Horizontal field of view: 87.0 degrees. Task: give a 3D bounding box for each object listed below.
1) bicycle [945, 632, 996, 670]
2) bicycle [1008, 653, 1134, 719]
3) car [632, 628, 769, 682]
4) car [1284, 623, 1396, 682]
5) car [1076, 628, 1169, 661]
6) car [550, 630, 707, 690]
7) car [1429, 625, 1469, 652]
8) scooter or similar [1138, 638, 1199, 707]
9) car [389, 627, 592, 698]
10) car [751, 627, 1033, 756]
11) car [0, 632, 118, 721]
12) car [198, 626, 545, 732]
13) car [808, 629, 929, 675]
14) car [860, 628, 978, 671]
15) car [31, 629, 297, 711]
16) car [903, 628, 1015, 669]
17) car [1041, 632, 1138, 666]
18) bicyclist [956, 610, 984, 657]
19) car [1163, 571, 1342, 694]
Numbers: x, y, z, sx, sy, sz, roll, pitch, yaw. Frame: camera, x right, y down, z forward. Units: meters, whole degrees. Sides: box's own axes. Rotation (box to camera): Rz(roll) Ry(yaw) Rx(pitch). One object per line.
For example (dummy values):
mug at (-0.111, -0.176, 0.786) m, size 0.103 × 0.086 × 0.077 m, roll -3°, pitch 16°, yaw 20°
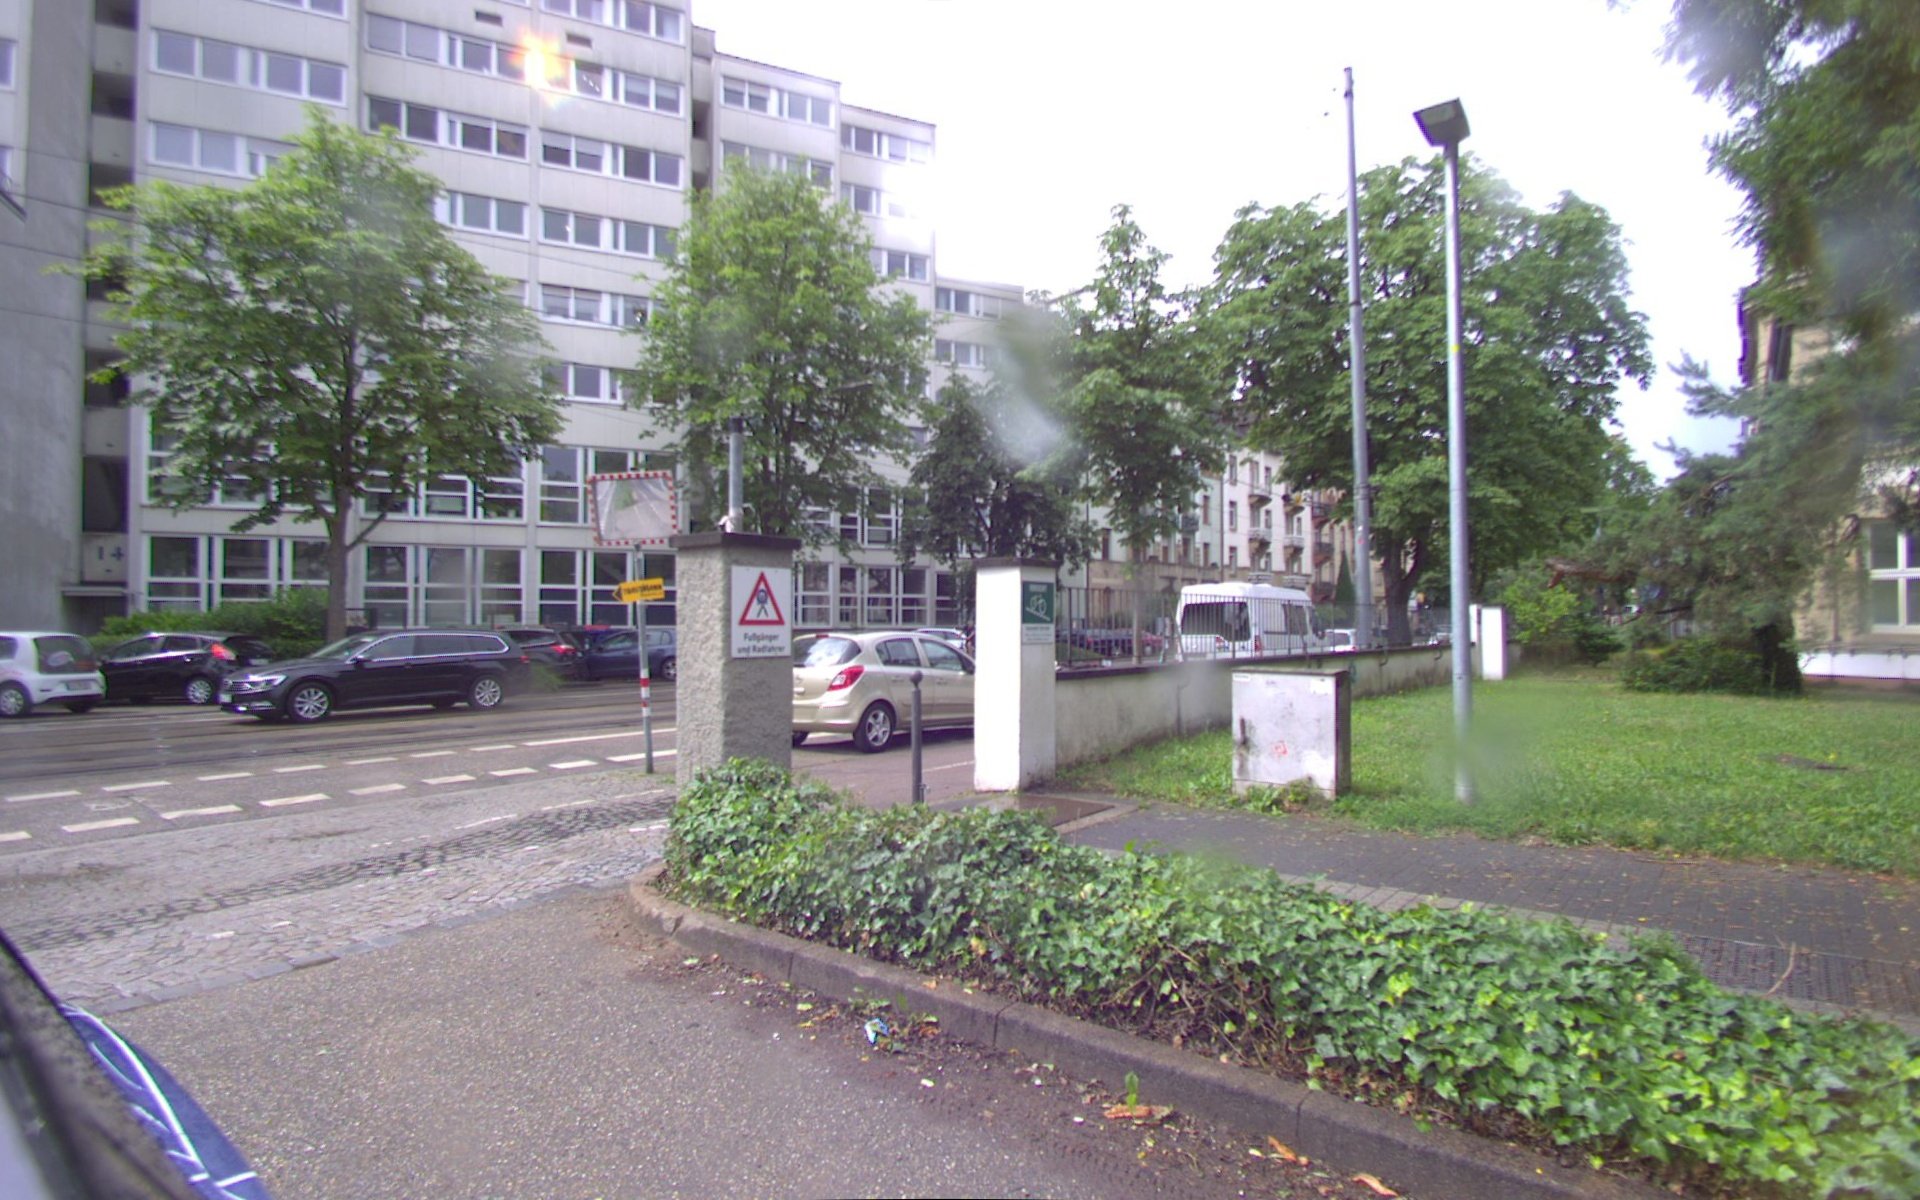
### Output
bicycle at (0.380, 1.780, 35.668) m, size 0.645 × 1.276 × 1.842 m, roll -4°, pitch -3°, yaw 44°
bicycle at (1.787, 1.405, 16.478) m, size 1.925 × 0.994 × 0.676 m, roll -5°, pitch -3°, yaw 37°
car at (-7.833, 1.661, 30.781) m, size 3.821 × 1.465 × 1.780 m, roll -2°, pitch -2°, yaw -7°
car at (10.679, 1.459, 28.361) m, size 1.913 × 1.563 × 3.325 m, roll -3°, pitch -4°, yaw 40°
car at (8.189, 2.237, 51.351) m, size 4.380 × 1.464 × 1.905 m, roll -2°, pitch -2°, yaw 2°
car at (-9.098, 1.636, 28.018) m, size 3.821 × 1.465 × 1.825 m, roll -2°, pitch -2°, yaw -7°
car at (29.238, 2.306, 60.475) m, size 1.613 × 1.526 × 2.574 m, roll -3°, pitch -2°, yaw 38°
scooter or similar at (4.032, 1.389, 19.550) m, size 1.137 × 1.287 × 0.424 m, roll 0°, pitch -4°, yaw 13°
car at (-11.765, 1.568, 25.618) m, size 4.302 × 1.567 × 1.881 m, roll -2°, pitch -3°, yaw -8°
car at (-0.780, 1.128, 13.603) m, size 1.688 × 1.471 × 3.784 m, roll -3°, pitch -3°, yaw 38°
car at (-17.127, 1.303, 17.678) m, size 3.357 × 1.463 × 1.712 m, roll 0°, pitch -1°, yaw -3°
car at (-9.737, 1.232, 17.121) m, size 1.996 × 1.492 × 4.705 m, roll -3°, pitch -3°, yaw 36°
car at (-3.278, 1.837, 36.119) m, size 4.142 × 1.464 × 1.816 m, roll -2°, pitch -2°, yaw -6°
car at (-1.621, 1.865, 38.509) m, size 4.327 × 1.464 × 1.888 m, roll -2°, pitch -2°, yaw -6°
car at (-15.808, 1.360, 20.241) m, size 3.923 × 1.492 × 1.816 m, roll -1°, pitch -2°, yaw 1°
car at (-0.076, 1.952, 41.044) m, size 4.304 × 1.464 × 1.908 m, roll -2°, pitch -2°, yaw -6°
car at (6.209, 2.371, 48.882) m, size 4.380 × 1.464 × 1.905 m, roll -2°, pitch -2°, yaw 2°
bicyclist at (0.359, 1.170, 35.691) m, size 0.645 × 1.630 × 0.664 m, roll -4°, pitch -3°, yaw 44°
car at (6.898, 0.770, 23.445) m, size 2.137 × 2.529 × 5.206 m, roll -4°, pitch -4°, yaw 38°
